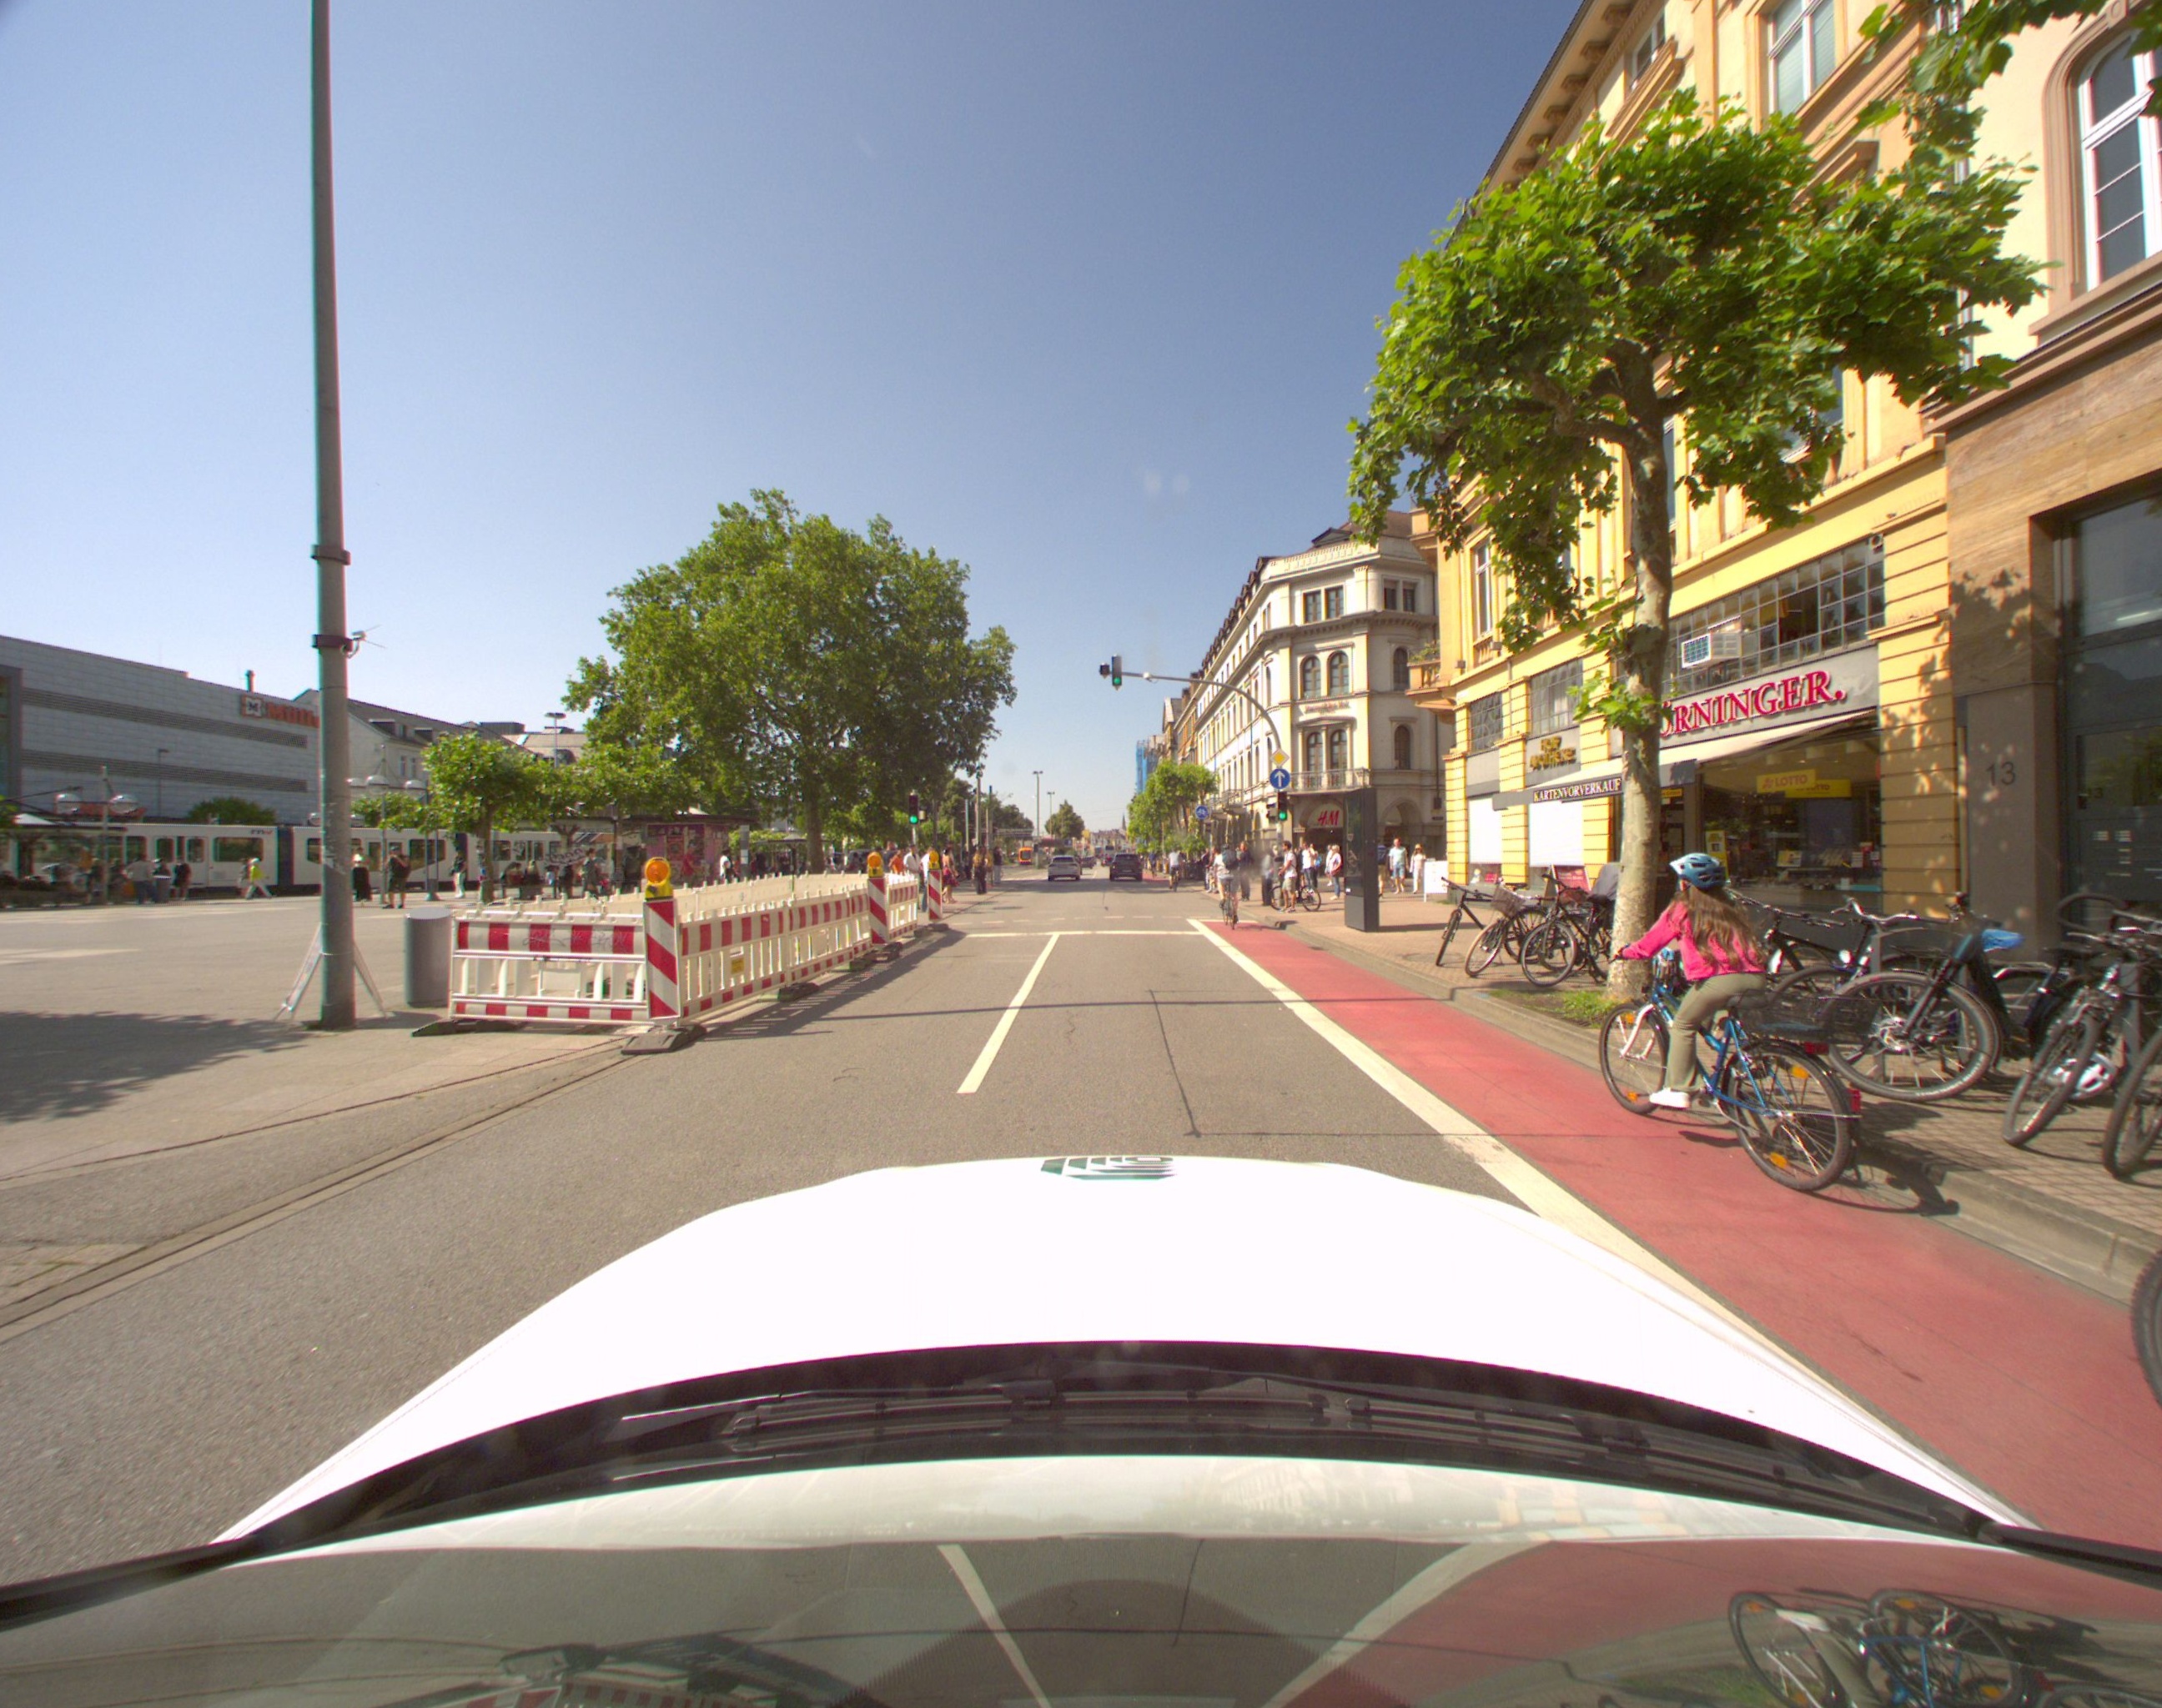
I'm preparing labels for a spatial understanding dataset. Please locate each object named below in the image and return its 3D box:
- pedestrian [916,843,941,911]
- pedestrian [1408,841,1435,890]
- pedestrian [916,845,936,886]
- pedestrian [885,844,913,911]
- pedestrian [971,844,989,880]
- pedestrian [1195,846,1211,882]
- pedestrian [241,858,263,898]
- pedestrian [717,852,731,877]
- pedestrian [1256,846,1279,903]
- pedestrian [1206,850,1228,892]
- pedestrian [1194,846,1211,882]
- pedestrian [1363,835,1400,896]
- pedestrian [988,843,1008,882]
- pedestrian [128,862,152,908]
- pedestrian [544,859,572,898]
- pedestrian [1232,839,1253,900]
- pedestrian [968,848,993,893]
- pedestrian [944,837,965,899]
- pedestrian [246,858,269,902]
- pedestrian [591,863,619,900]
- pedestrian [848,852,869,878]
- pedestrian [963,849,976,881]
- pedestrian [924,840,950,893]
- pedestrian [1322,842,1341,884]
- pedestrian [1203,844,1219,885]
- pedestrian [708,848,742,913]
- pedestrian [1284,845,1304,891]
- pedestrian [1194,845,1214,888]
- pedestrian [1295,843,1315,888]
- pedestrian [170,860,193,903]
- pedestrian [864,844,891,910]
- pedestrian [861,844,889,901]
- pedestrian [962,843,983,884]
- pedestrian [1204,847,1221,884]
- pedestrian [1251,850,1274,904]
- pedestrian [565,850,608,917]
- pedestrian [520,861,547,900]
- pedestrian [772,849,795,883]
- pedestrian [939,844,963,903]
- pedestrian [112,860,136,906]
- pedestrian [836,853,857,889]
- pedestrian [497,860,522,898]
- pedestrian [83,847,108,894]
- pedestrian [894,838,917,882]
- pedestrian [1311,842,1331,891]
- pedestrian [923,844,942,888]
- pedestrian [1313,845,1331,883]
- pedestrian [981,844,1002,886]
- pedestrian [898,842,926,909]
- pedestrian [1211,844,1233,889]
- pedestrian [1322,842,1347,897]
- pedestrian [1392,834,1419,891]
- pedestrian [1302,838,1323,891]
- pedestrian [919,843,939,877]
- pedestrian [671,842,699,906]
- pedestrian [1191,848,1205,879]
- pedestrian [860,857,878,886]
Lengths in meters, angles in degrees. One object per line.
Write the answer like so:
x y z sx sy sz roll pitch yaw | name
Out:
-3.958 0.581 21.090 0.431 1.740 0.600 1 -1 -29 | pedestrian
11.085 0.378 26.511 0.554 1.569 0.581 -1 -1 -43 | pedestrian
-6.571 0.494 34.473 0.571 1.711 0.609 1 -1 21 | pedestrian
-4.749 0.607 21.255 0.542 1.718 0.600 1 -1 -30 | pedestrian
-5.054 0.395 40.763 0.611 1.823 0.668 -1 -1 31 | pedestrian
5.729 0.474 38.239 0.581 1.673 0.605 -4 -1 0 | pedestrian
-36.130 1.032 35.477 0.793 1.749 0.610 -1 0 40 | pedestrian
-22.078 0.661 50.364 0.603 1.514 0.745 0 0 -5 | pedestrian
5.469 0.598 23.900 0.546 1.631 0.589 -2 -1 4 | pedestrian
5.167 0.637 30.971 0.608 1.515 0.677 -5 -1 0 | pedestrian
5.796 0.483 38.890 0.581 1.700 0.605 -4 -1 0 | pedestrian
9.003 0.348 24.429 0.655 1.790 1.233 -1 -2 1 | pedestrian
-4.012 0.418 39.248 0.626 1.834 0.735 -1 -1 31 | pedestrian
-36.238 1.191 31.357 0.737 1.749 0.610 -1 0 40 | pedestrian
-17.339 0.809 27.004 0.605 1.262 0.615 -1 0 37 | pedestrian
5.117 0.483 25.810 0.520 1.898 0.642 -2 -1 5 | pedestrian
-3.599 0.573 29.286 0.627 1.595 0.690 -1 -1 22 | pedestrian
-3.967 0.436 25.491 0.529 1.919 0.560 0 -1 3 | pedestrian
-33.527 1.042 33.142 0.737 1.749 0.610 -1 0 40 | pedestrian
-16.483 0.942 28.216 0.605 1.262 0.615 0 0 28 | pedestrian
-10.018 0.494 36.622 0.627 1.144 0.669 -1 -1 22 | pedestrian
-6.080 0.577 44.285 0.608 1.725 0.677 0 -1 0 | pedestrian
-5.195 0.450 29.452 0.627 1.859 0.690 -1 -1 22 | pedestrian
10.831 0.384 35.210 0.608 1.807 0.677 0 -1 0 | pedestrian
5.856 0.458 36.694 0.608 1.823 0.677 0 -1 0 | pedestrian
-9.774 0.714 22.373 0.573 1.738 0.607 1 -1 7 | pedestrian
7.554 0.489 28.878 0.521 1.611 0.642 -2 -1 2 | pedestrian
5.125 0.531 34.036 0.608 1.739 0.677 -5 -1 0 | pedestrian
8.185 0.404 29.781 0.521 1.609 0.642 -2 -1 2 | pedestrian
-36.657 1.104 33.182 0.737 1.749 0.610 -1 0 40 | pedestrian
-5.961 0.659 23.861 0.573 1.891 0.654 1 -1 3 | pedestrian
-6.369 0.566 25.216 0.581 1.721 0.790 0 2 3 | pedestrian
-4.992 0.413 37.430 0.626 1.859 0.735 -1 -1 31 | pedestrian
6.025 0.526 37.224 0.581 1.673 0.605 -4 -1 0 | pedestrian
5.183 0.650 23.264 0.520 1.521 0.642 -2 -1 5 | pedestrian
-11.599 0.683 19.126 0.573 1.532 0.607 1 -1 7 | pedestrian
-18.168 0.857 27.014 0.611 1.262 0.609 0 0 -20 | pedestrian
-13.382 0.530 36.597 0.627 1.478 0.735 -1 -1 22 | pedestrian
-3.942 0.576 24.667 0.573 1.758 0.639 0 -1 3 | pedestrian
-37.464 1.124 31.889 0.737 1.749 0.610 -1 0 40 | pedestrian
-10.374 0.738 36.002 0.627 1.565 0.669 -1 -1 22 | pedestrian
-19.461 0.828 27.728 0.616 1.262 0.604 0 0 -43 | pedestrian
-37.608 0.615 31.084 0.737 1.749 0.610 -1 0 40 | pedestrian
-7.416 0.255 34.362 0.627 1.810 0.735 -1 -1 22 | pedestrian
8.566 0.433 29.060 0.521 1.702 0.536 -2 -1 2 | pedestrian
-6.082 0.483 33.404 0.573 1.779 0.607 1 -1 7 | pedestrian
10.466 0.438 35.359 0.608 1.618 0.678 0 2 0 | pedestrian
-3.911 0.483 35.775 0.627 1.794 0.735 -1 -1 22 | pedestrian
-4.574 0.563 22.012 0.536 1.779 0.607 1 -1 7 | pedestrian
5.665 0.507 32.702 0.608 1.759 0.677 -5 -1 0 | pedestrian
7.708 0.482 24.793 0.546 1.640 0.589 -2 -1 4 | pedestrian
10.525 0.278 26.410 0.554 1.801 0.581 -1 -1 -43 | pedestrian
8.105 0.355 28.490 0.521 1.823 0.642 -2 -1 2 | pedestrian
-7.966 0.327 42.571 0.671 1.764 0.771 -1 -1 31 | pedestrian
-11.736 0.584 24.130 0.666 1.879 0.625 1 -1 -33 | pedestrian
6.128 0.484 42.735 0.525 1.594 0.615 -1 3 28 | pedestrian
-10.167 0.828 39.156 0.729 1.386 0.664 0 -1 -6 | pedestrian
